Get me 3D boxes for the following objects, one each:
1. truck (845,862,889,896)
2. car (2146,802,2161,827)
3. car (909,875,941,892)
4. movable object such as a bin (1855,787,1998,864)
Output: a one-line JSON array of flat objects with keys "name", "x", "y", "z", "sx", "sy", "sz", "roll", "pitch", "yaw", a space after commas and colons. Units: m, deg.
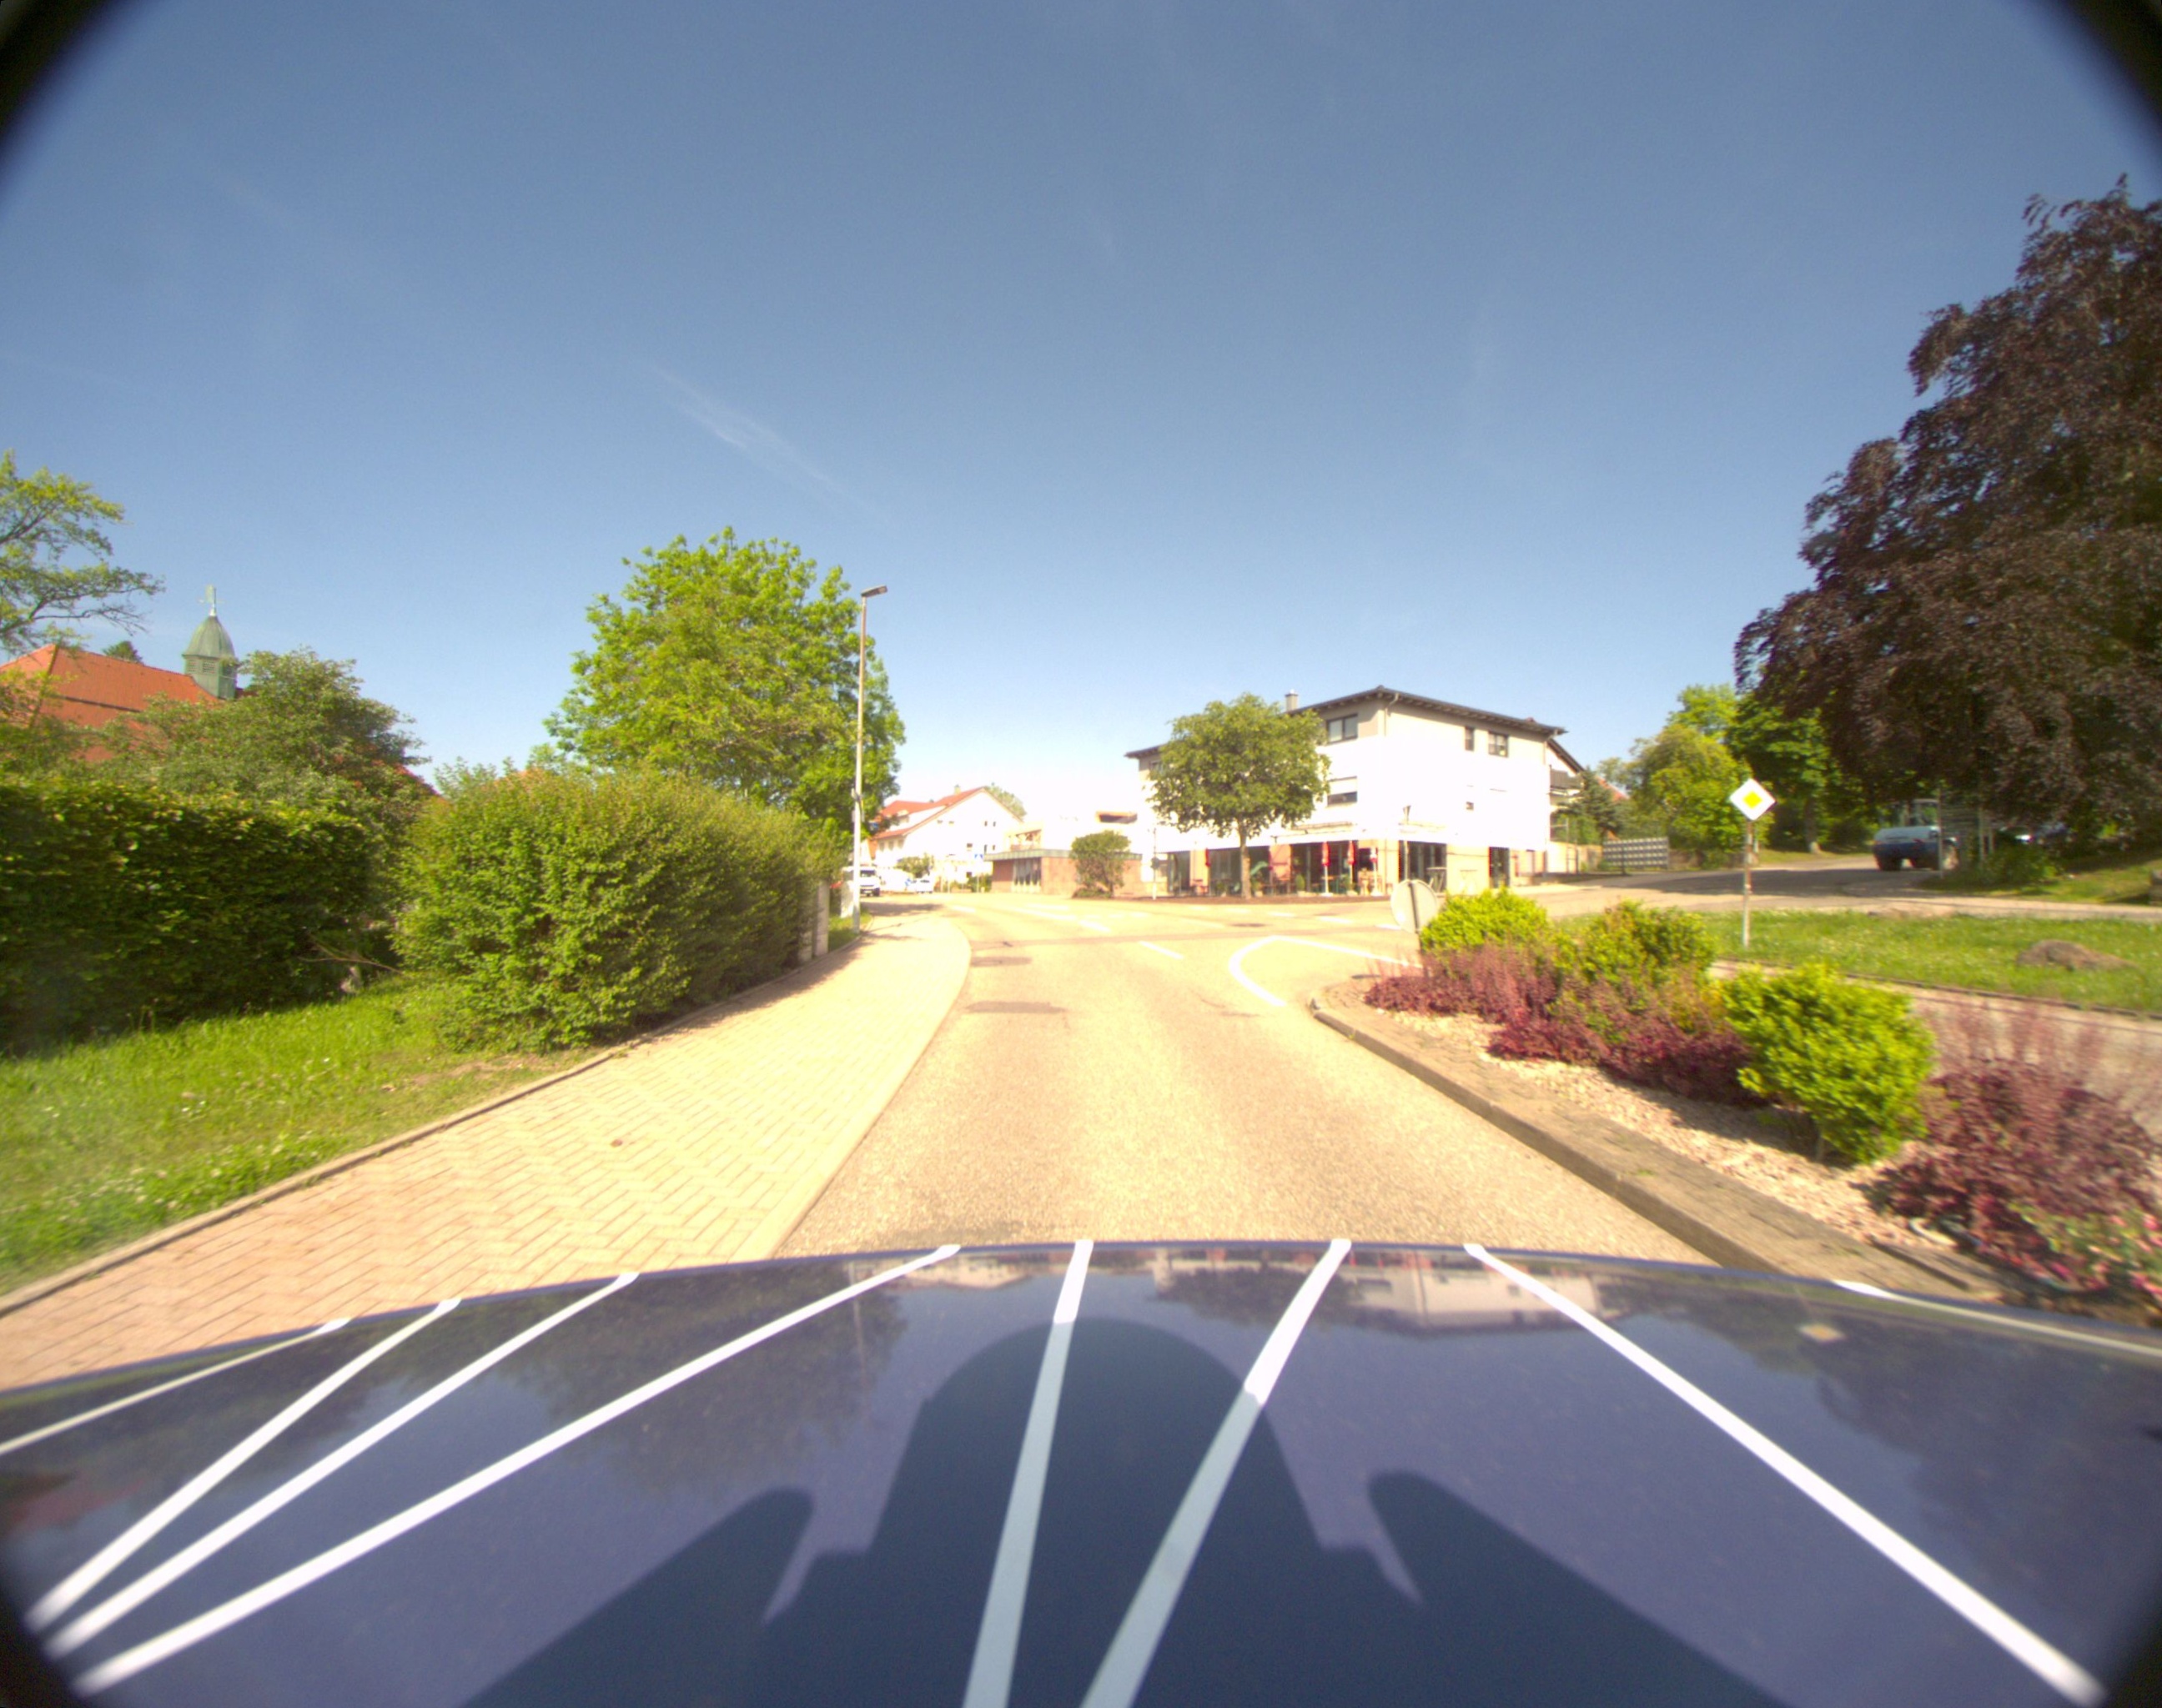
[{"name": "truck", "x": -16.336, "y": 1.942, "z": 57.752, "sx": 2.002, "sy": 2.327, "sz": 6.483, "roll": -2, "pitch": -2, "yaw": -26}, {"name": "car", "x": 67.164, "y": -2.480, "z": 46.172, "sx": 3.813, "sy": 1.461, "sz": 1.774, "roll": -3, "pitch": 0, "yaw": -18}, {"name": "car", "x": -15.375, "y": 2.895, "z": 74.698, "sx": 1.779, "sy": 1.459, "sz": 3.705, "roll": -3, "pitch": -1, "yaw": -33}, {"name": "movable object such as a bin", "x": 32.928, "y": -1.108, "z": 29.578, "sx": 5.109, "sy": 2.753, "sz": 1.997, "roll": -3, "pitch": 0, "yaw": -22}]
